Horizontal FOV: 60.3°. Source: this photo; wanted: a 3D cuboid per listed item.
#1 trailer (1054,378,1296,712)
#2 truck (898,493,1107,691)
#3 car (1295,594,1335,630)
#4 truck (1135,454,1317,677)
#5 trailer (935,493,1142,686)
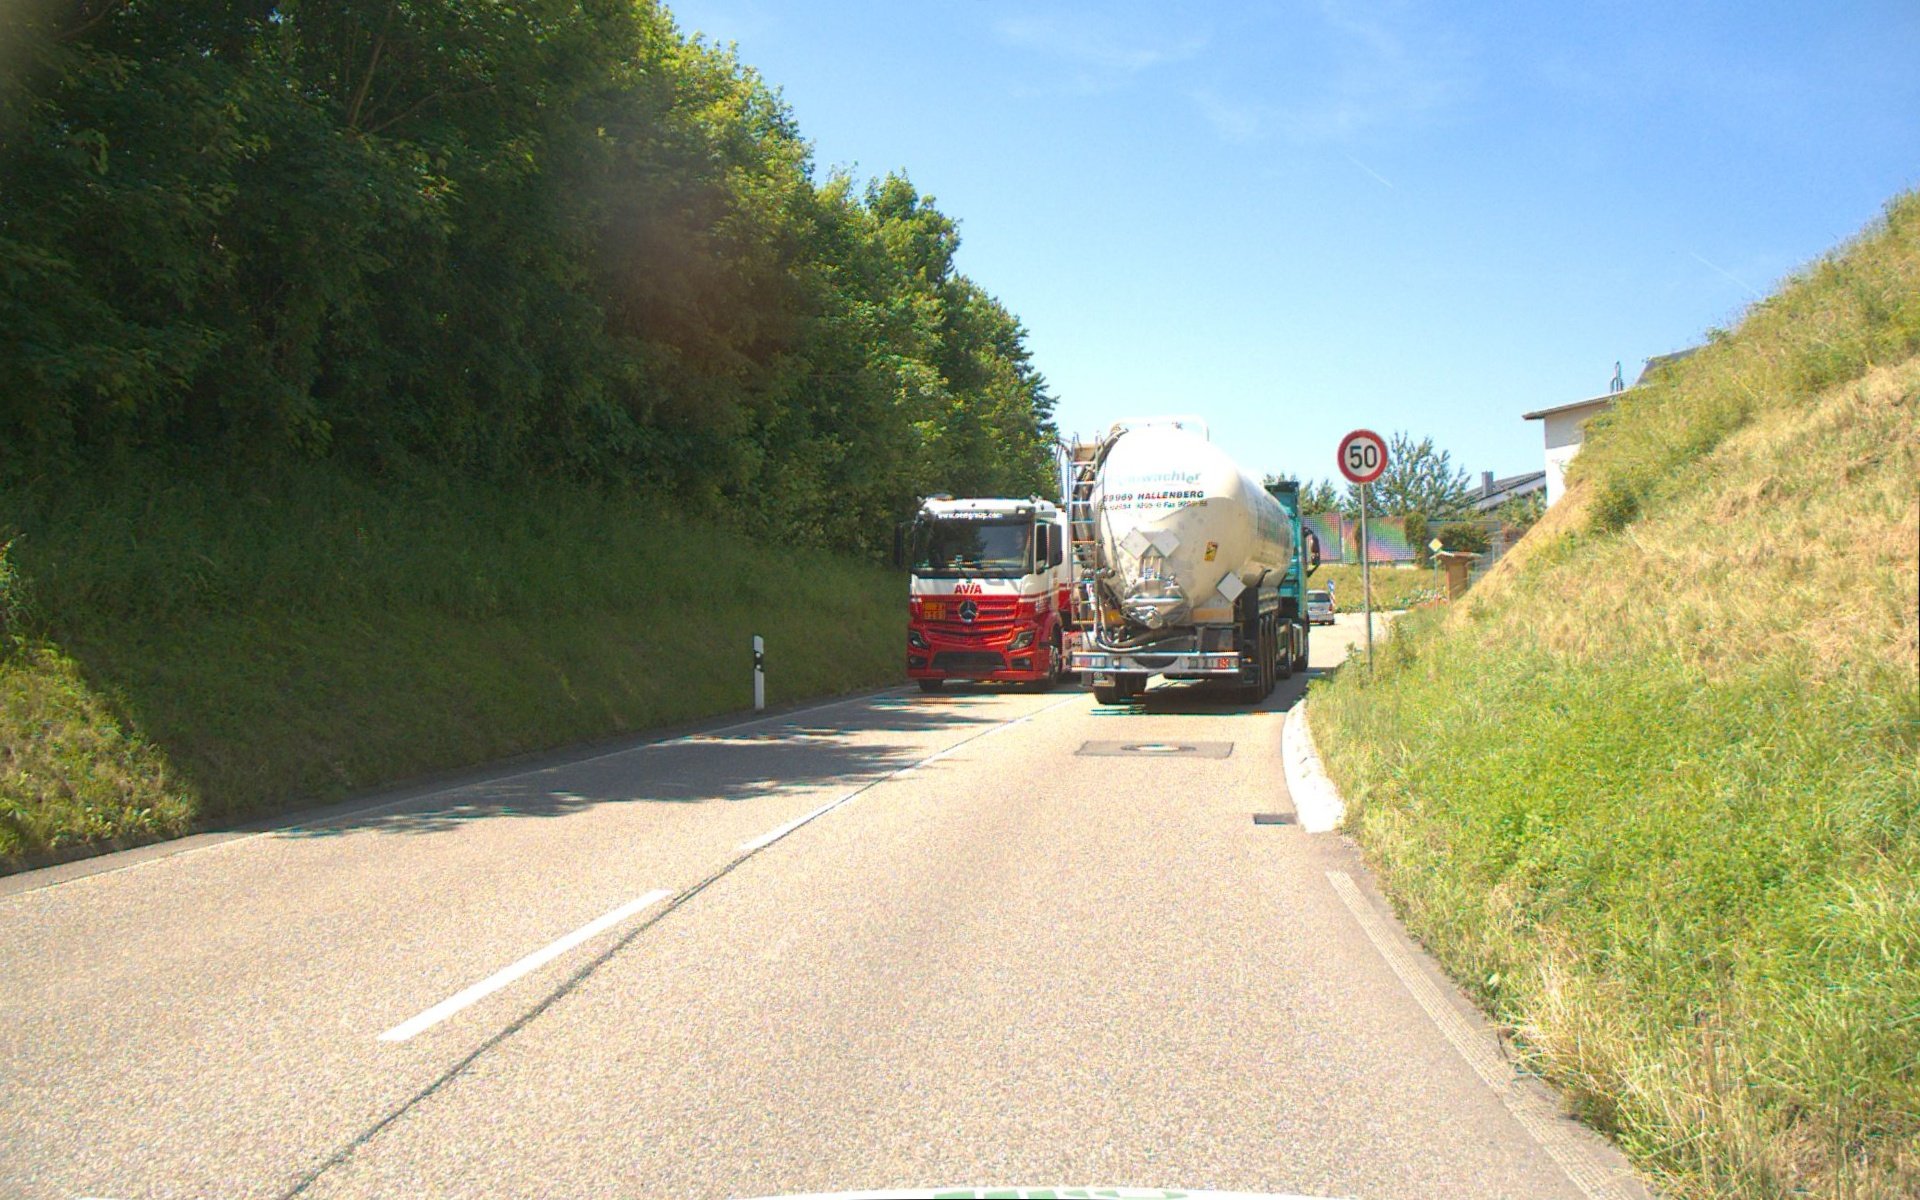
[{"bbox_3d":[3.942,-0.706,27.259,2.604,4.262,11.914,-1,0,14],"label":"trailer"},{"bbox_3d":[0.991,-0.109,30.721,2.570,3.226,7.074,-1,0,12],"label":"truck"},{"bbox_3d":[15.839,0.534,73.893,1.612,1.536,3.641,1,-1,11],"label":"car"},{"bbox_3d":[5.580,-0.585,33.669,2.669,3.999,7.267,-1,-1,17],"label":"truck"},{"bbox_3d":[1.998,-0.188,35.323,2.577,3.432,11.152,-1,0,12],"label":"trailer"}]
